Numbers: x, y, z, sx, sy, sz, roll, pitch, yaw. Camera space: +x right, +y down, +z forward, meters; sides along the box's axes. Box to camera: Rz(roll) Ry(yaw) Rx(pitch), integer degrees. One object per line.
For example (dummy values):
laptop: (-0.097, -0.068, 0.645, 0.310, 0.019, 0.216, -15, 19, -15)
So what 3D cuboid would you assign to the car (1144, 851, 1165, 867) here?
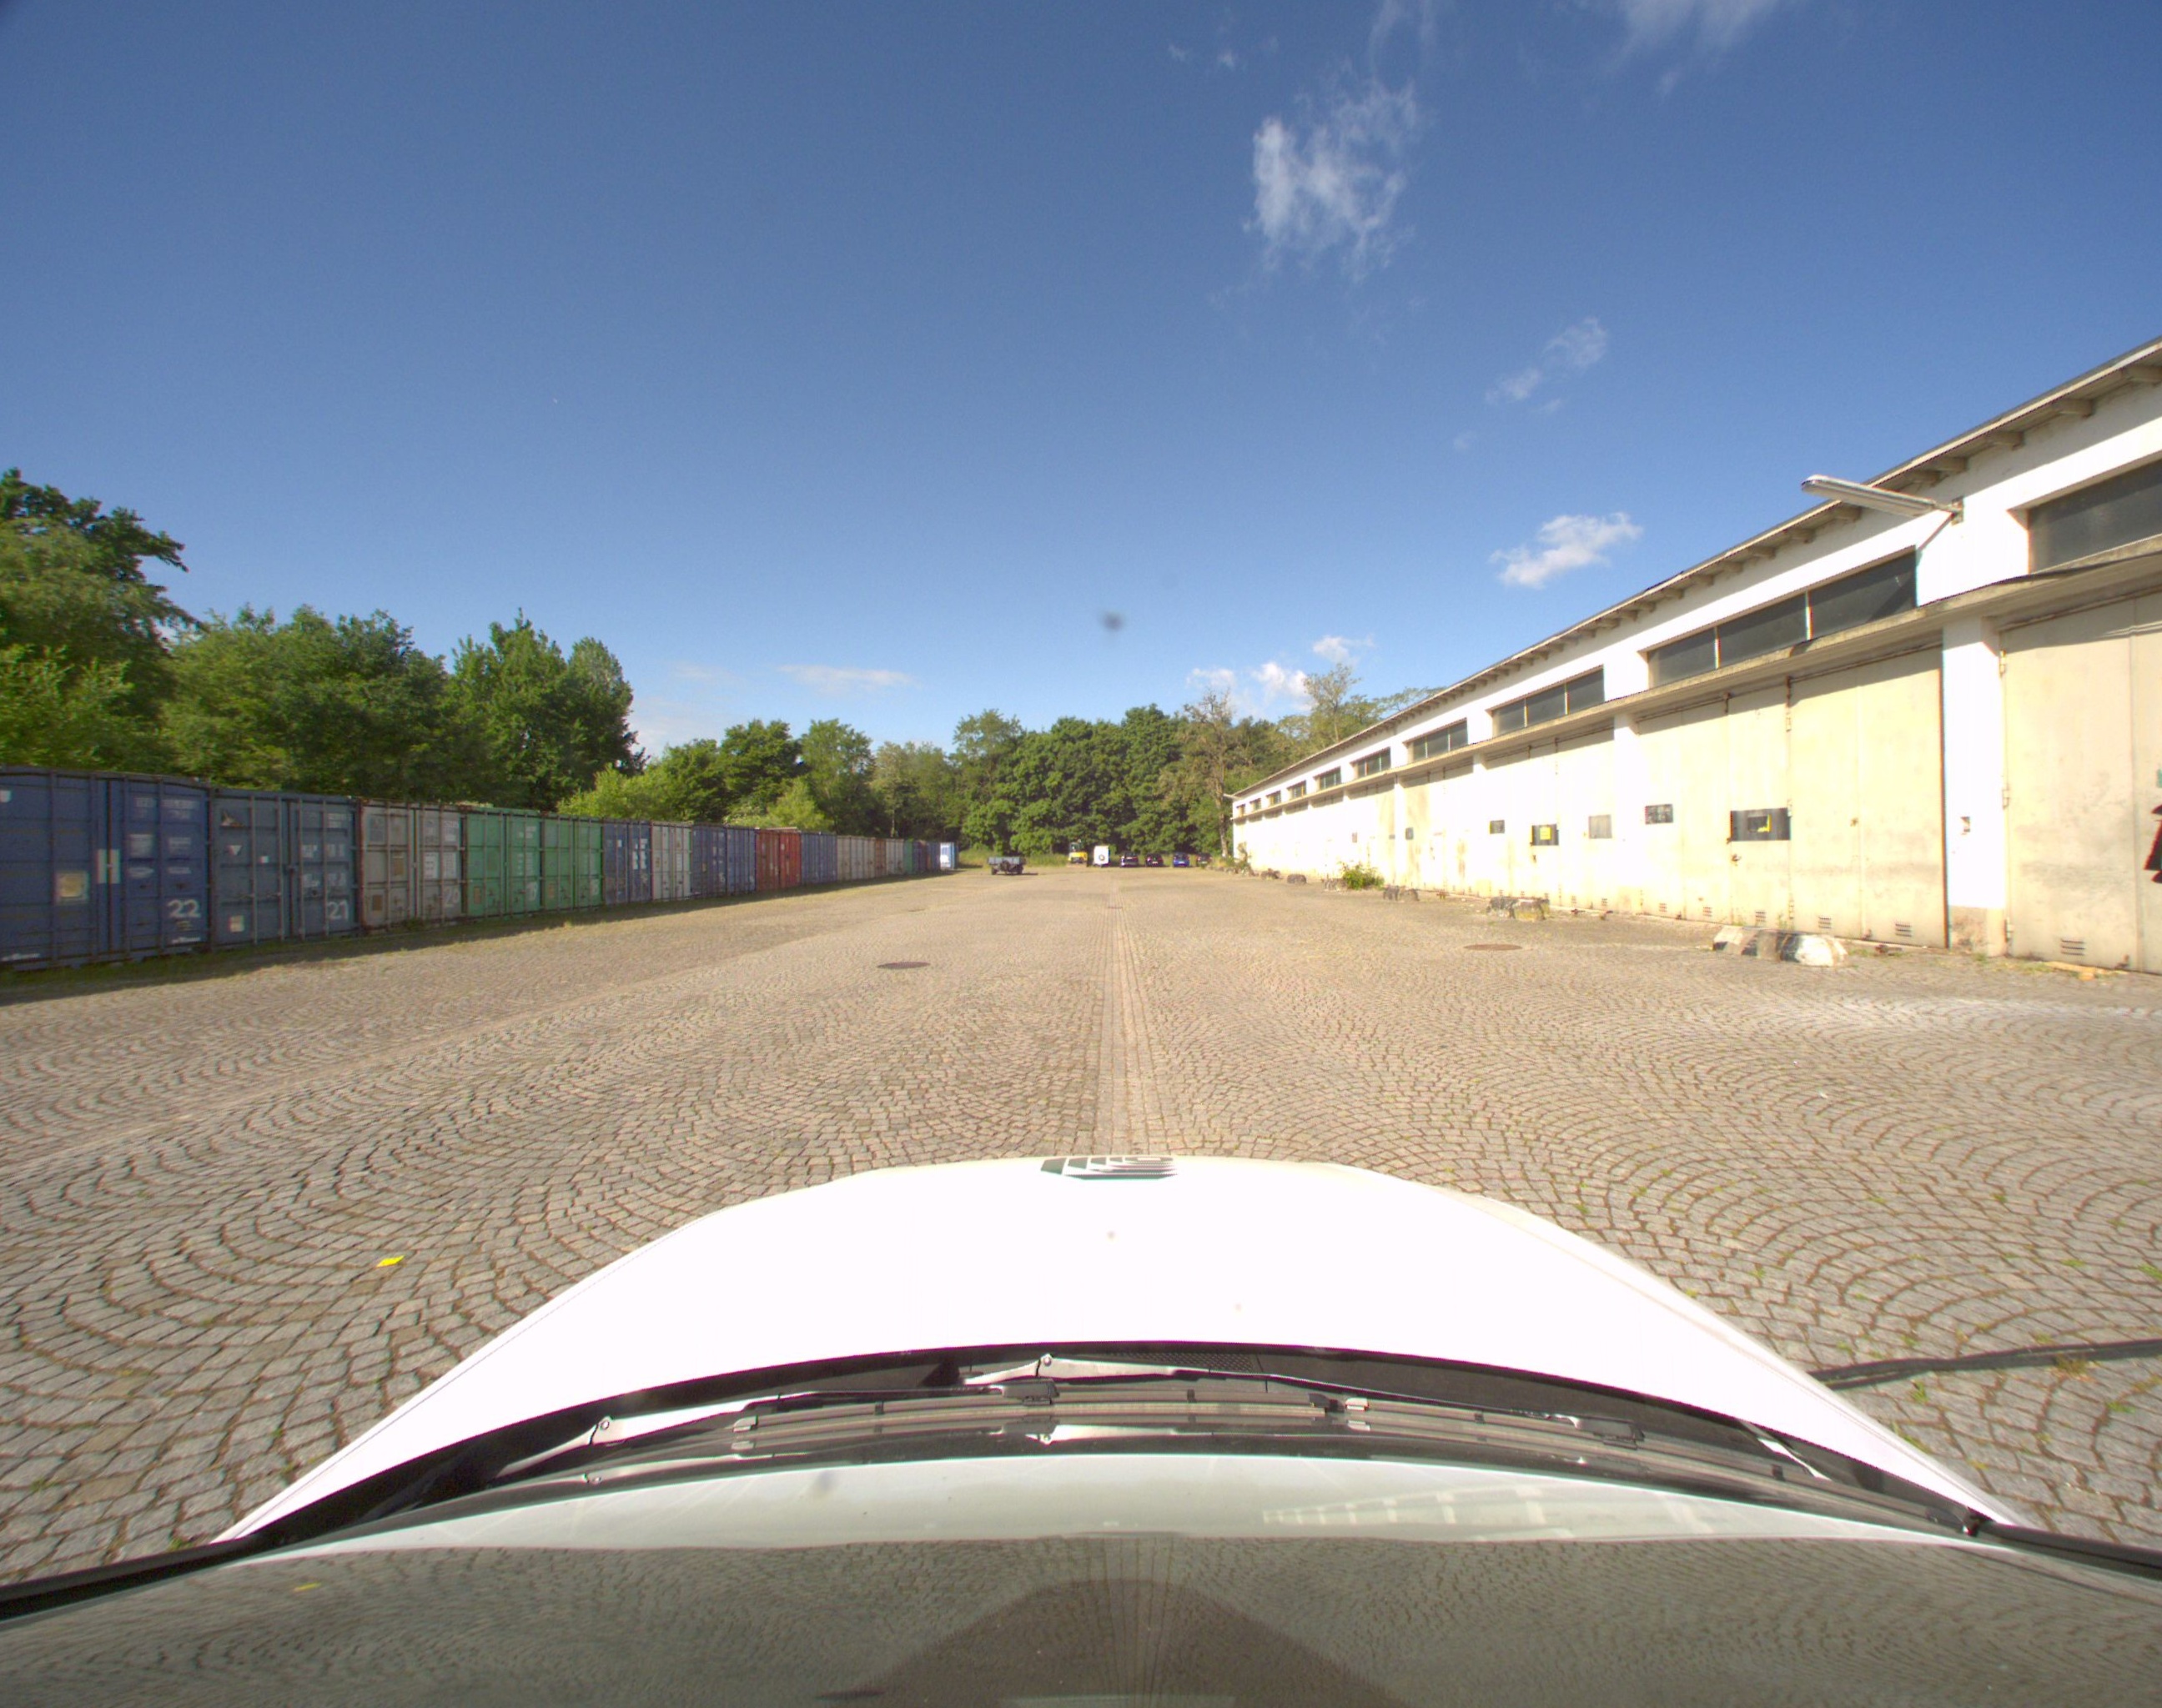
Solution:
car: (7.273, 0.462, 81.082, 1.856, 1.470, 4.298, 1, 1, 2)

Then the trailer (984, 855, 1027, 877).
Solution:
trailer: (-5.777, 0.884, 63.328, 2.696, 1.465, 6.248, 1, 1, 1)

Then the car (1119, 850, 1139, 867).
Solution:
car: (4.779, 0.399, 80.779, 1.856, 1.589, 4.298, 1, 1, 2)

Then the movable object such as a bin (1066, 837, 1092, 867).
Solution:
movable object such as a bin: (-0.180, -0.277, 83.884, 2.297, 2.896, 5.756, 1, 1, 3)

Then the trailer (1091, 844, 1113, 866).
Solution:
trailer: (2.172, 0.090, 83.228, 2.185, 2.094, 5.754, 1, 1, 2)

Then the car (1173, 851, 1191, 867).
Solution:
car: (10.028, 0.475, 80.949, 1.735, 1.436, 4.192, 1, 1, 7)

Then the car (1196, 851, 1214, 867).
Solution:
car: (12.525, 0.477, 82.295, 1.734, 1.436, 4.194, 1, 1, 9)
